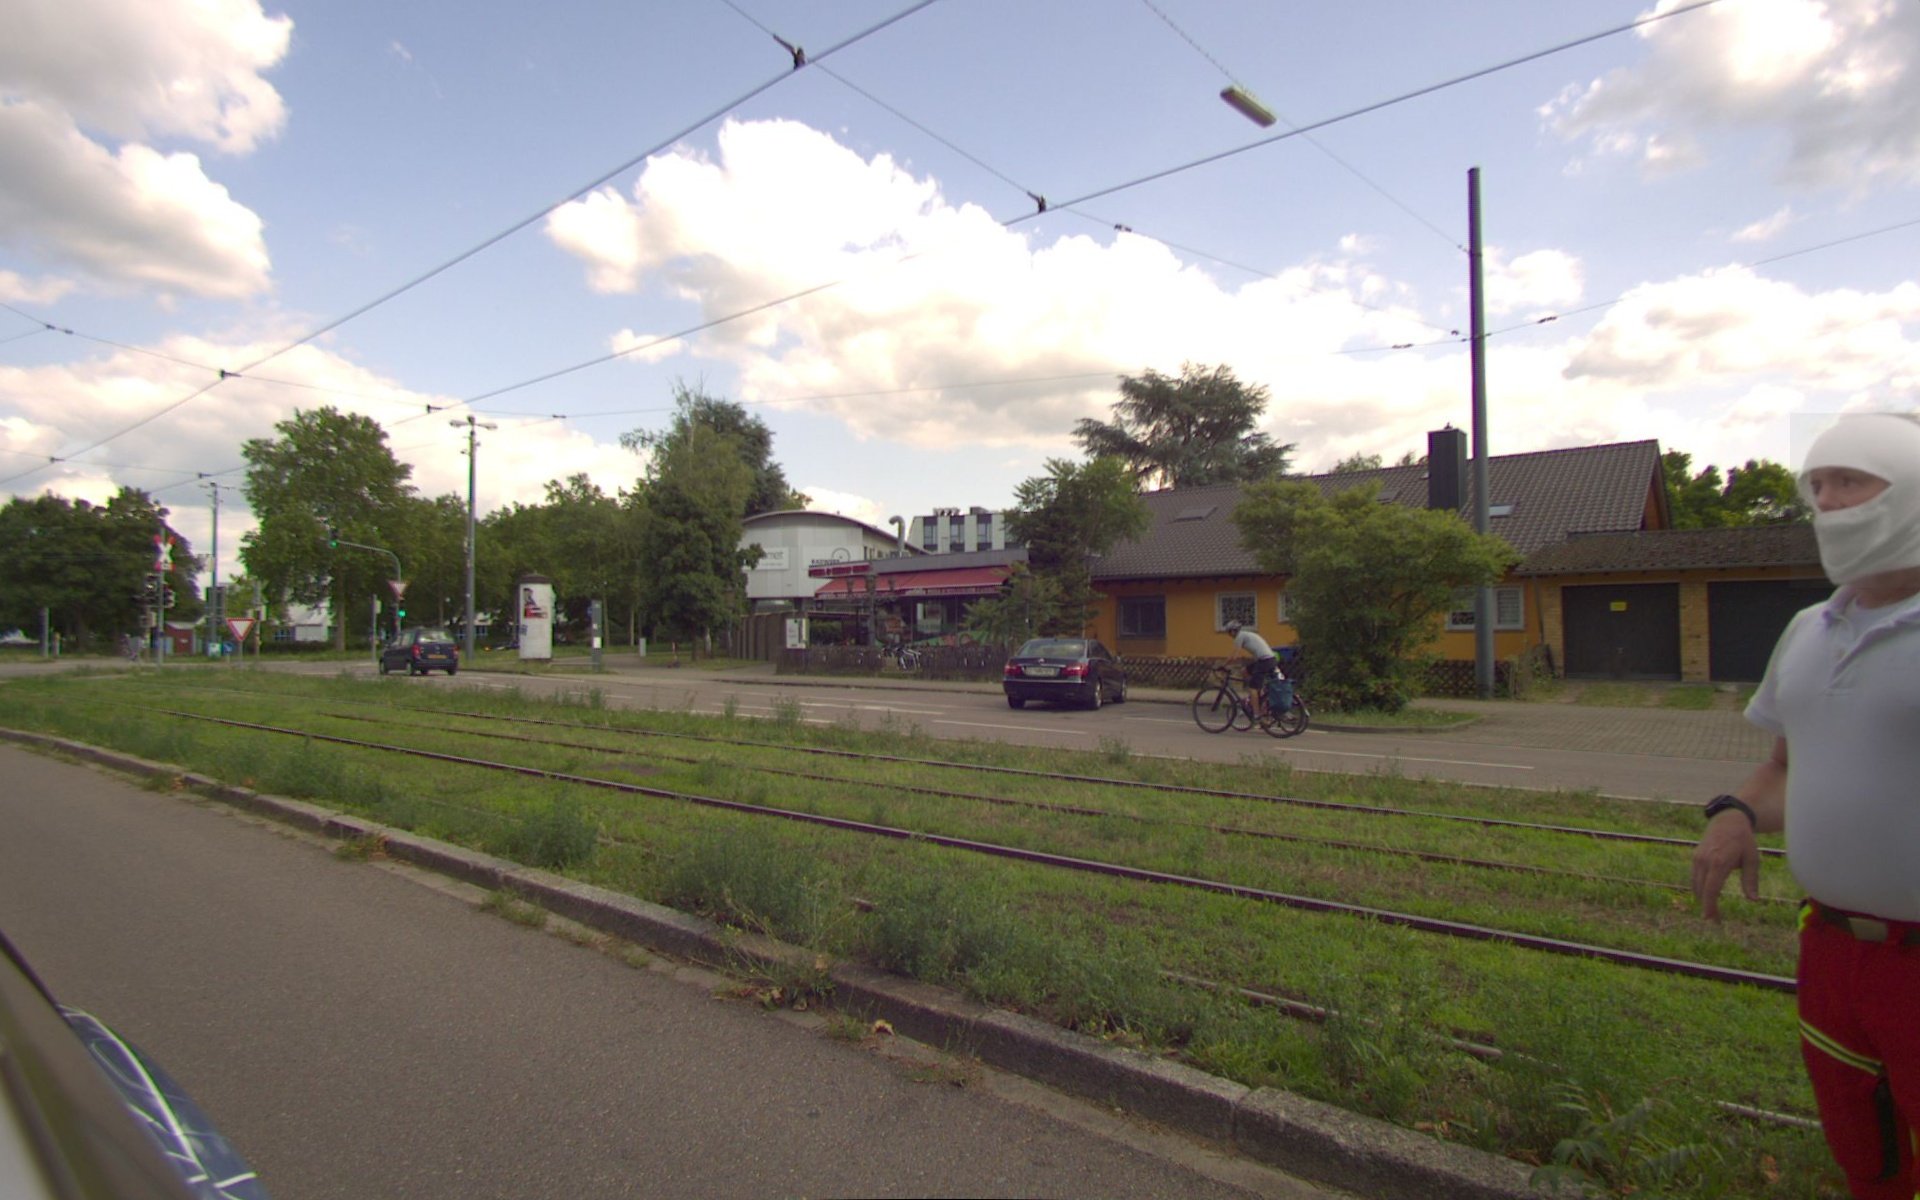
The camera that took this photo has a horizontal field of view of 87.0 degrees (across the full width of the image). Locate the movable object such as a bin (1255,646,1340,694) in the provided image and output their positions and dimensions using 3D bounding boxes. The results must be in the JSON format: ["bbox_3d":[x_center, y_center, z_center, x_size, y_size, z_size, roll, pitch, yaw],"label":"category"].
[{"bbox_3d":[8.123,1.665,24.381,1.616,1.109,1.242,-2,-3,39],"label":"movable object such as a bin"}]

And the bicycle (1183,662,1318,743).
[{"bbox_3d":[4.247,1.471,14.875,1.803,1.088,0.639,-2,-3,40],"label":"bicycle"}]

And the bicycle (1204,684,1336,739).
[{"bbox_3d":[4.695,1.676,15.397,1.804,0.723,0.639,-2,-3,41],"label":"bicycle"}]

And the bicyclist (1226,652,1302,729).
[{"bbox_3d":[4.636,1.357,15.445,0.928,1.121,0.632,-2,-3,41],"label":"bicyclist"}]

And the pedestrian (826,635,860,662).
[{"bbox_3d":[-5.027,2.091,43.621,0.931,1.155,1.141,-2,-3,41],"label":"pedestrian"}]

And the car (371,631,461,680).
[{"bbox_3d":[-19.455,1.937,36.150,3.495,1.639,1.759,-2,-2,43],"label":"car"}]

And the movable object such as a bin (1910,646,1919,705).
[{"bbox_3d":[17.637,1.366,18.384,0.479,1.050,0.488,-3,-2,40],"label":"movable object such as a bin"}]

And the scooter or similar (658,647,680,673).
[{"bbox_3d":[-12.195,2.507,42.432,0.421,1.041,1.225,1,-3,-40],"label":"scooter or similar"}]

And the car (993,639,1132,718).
[{"bbox_3d":[2.288,1.550,21.265,1.869,1.418,4.620,0,-2,20],"label":"car"}]

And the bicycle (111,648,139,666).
[{"bbox_3d":[-52.868,3.631,64.050,2.063,1.068,0.795,-4,-3,34],"label":"bicycle"}]

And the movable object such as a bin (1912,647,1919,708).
[{"bbox_3d":[17.283,1.371,17.958,0.481,1.050,0.499,-3,-2,40],"label":"movable object such as a bin"}]

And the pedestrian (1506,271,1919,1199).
[{"bbox_3d":[1.444,0.484,1.409,0.837,1.699,0.808,0,-1,-12],"label":"pedestrian"}]

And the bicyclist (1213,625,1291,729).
[{"bbox_3d":[4.284,1.102,14.860,0.928,1.469,0.617,-2,-3,40],"label":"bicyclist"}]

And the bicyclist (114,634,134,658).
[{"bbox_3d":[-52.960,2.941,64.123,0.830,1.481,0.795,-4,-3,33],"label":"bicyclist"}]

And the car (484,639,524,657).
[{"bbox_3d":[-39.830,4.209,88.499,1.676,1.535,3.855,0,-2,1],"label":"car"}]
